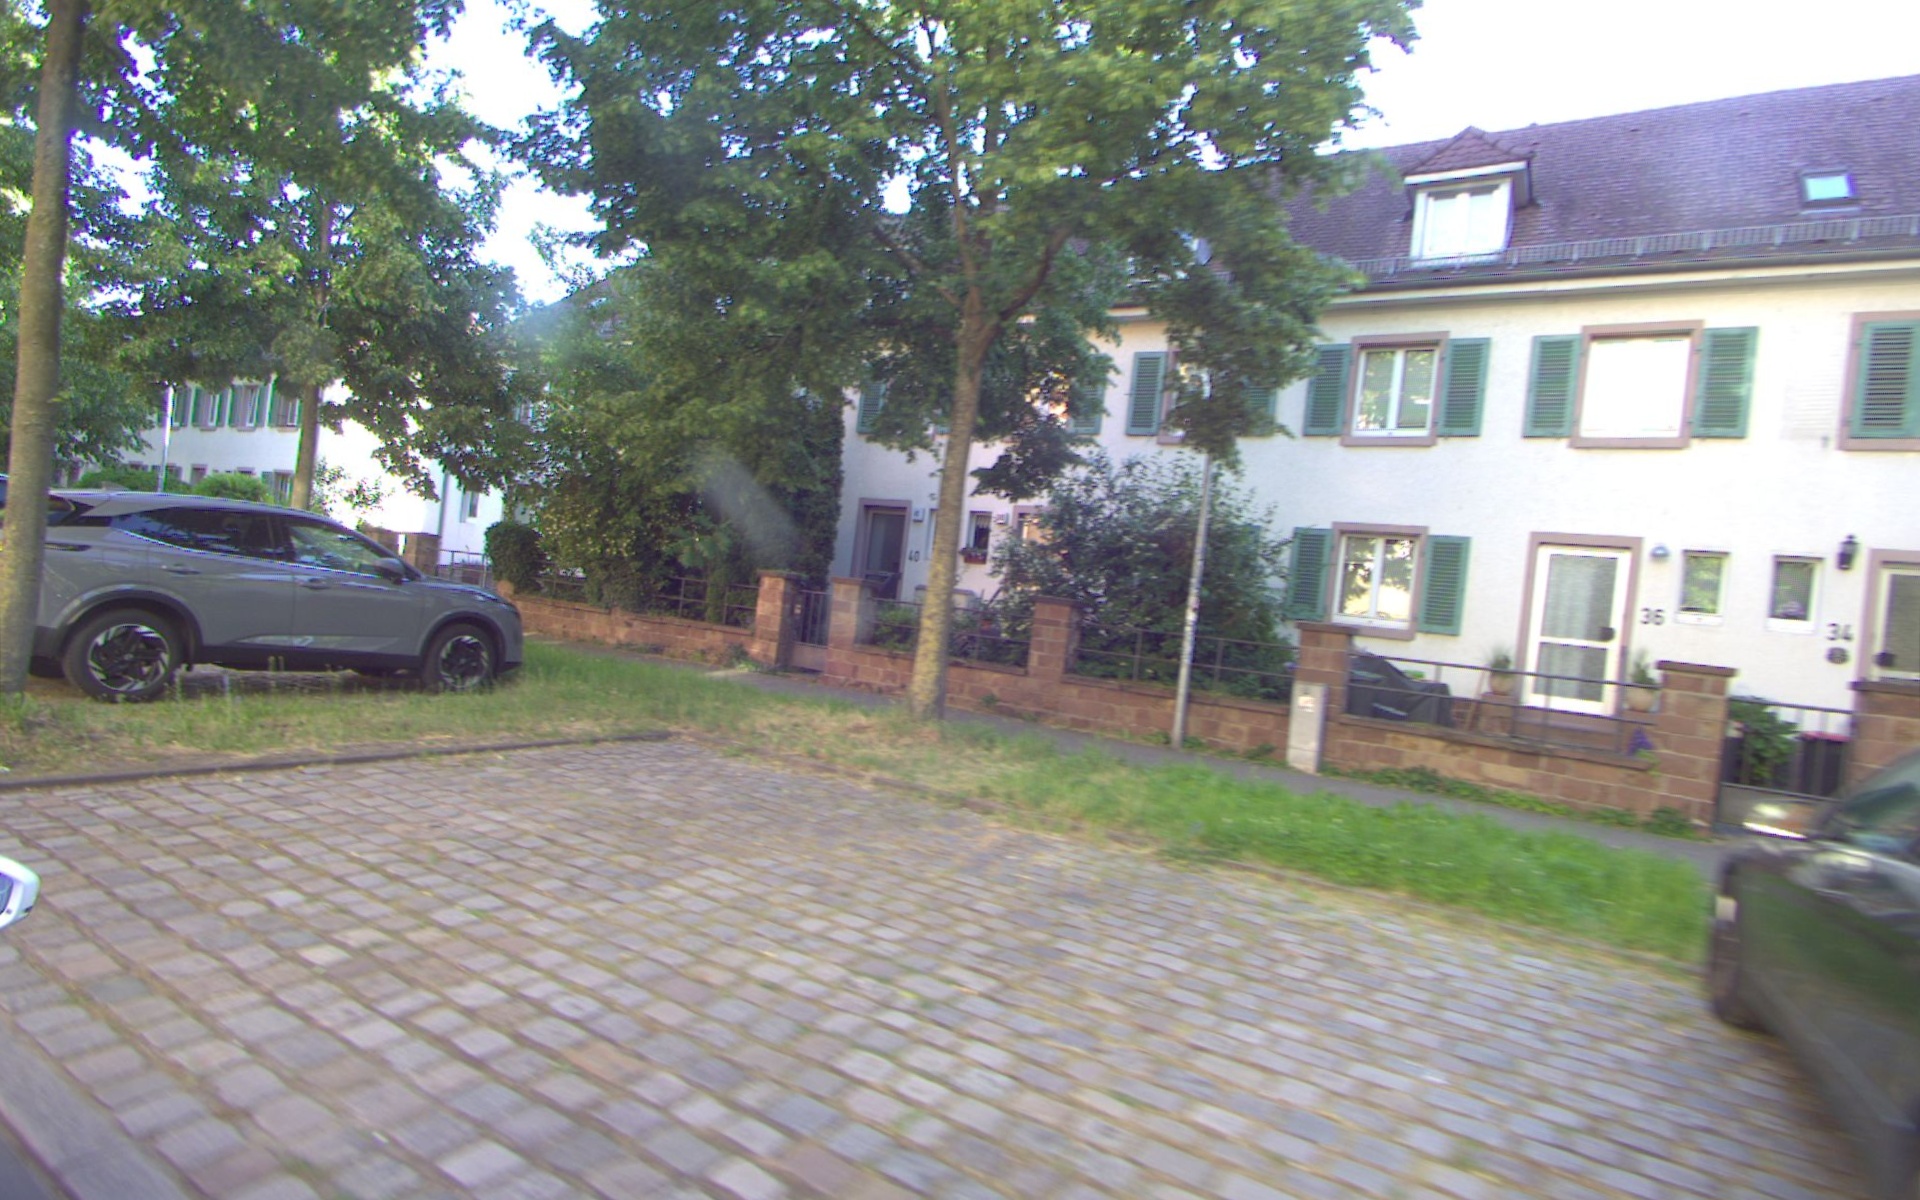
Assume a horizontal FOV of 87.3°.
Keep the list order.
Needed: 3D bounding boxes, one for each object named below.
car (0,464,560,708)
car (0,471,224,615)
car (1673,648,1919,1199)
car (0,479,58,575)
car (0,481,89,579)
[{"bbox_3d":[-6.181,-0.116,9.140,1.844,1.655,4.477,6,2,30],"label":"car"},{"bbox_3d":[-12.410,-0.792,12.740,1.876,1.699,4.580,7,2,33],"label":"car"},{"bbox_3d":[3.318,1.044,2.525,1.862,1.560,4.840,6,2,30],"label":"car"},{"bbox_3d":[-18.385,-1.420,17.082,1.663,1.655,4.270,7,2,35],"label":"car"},{"bbox_3d":[-16.043,-1.204,15.431,1.562,1.473,3.722,6,2,31],"label":"car"}]
